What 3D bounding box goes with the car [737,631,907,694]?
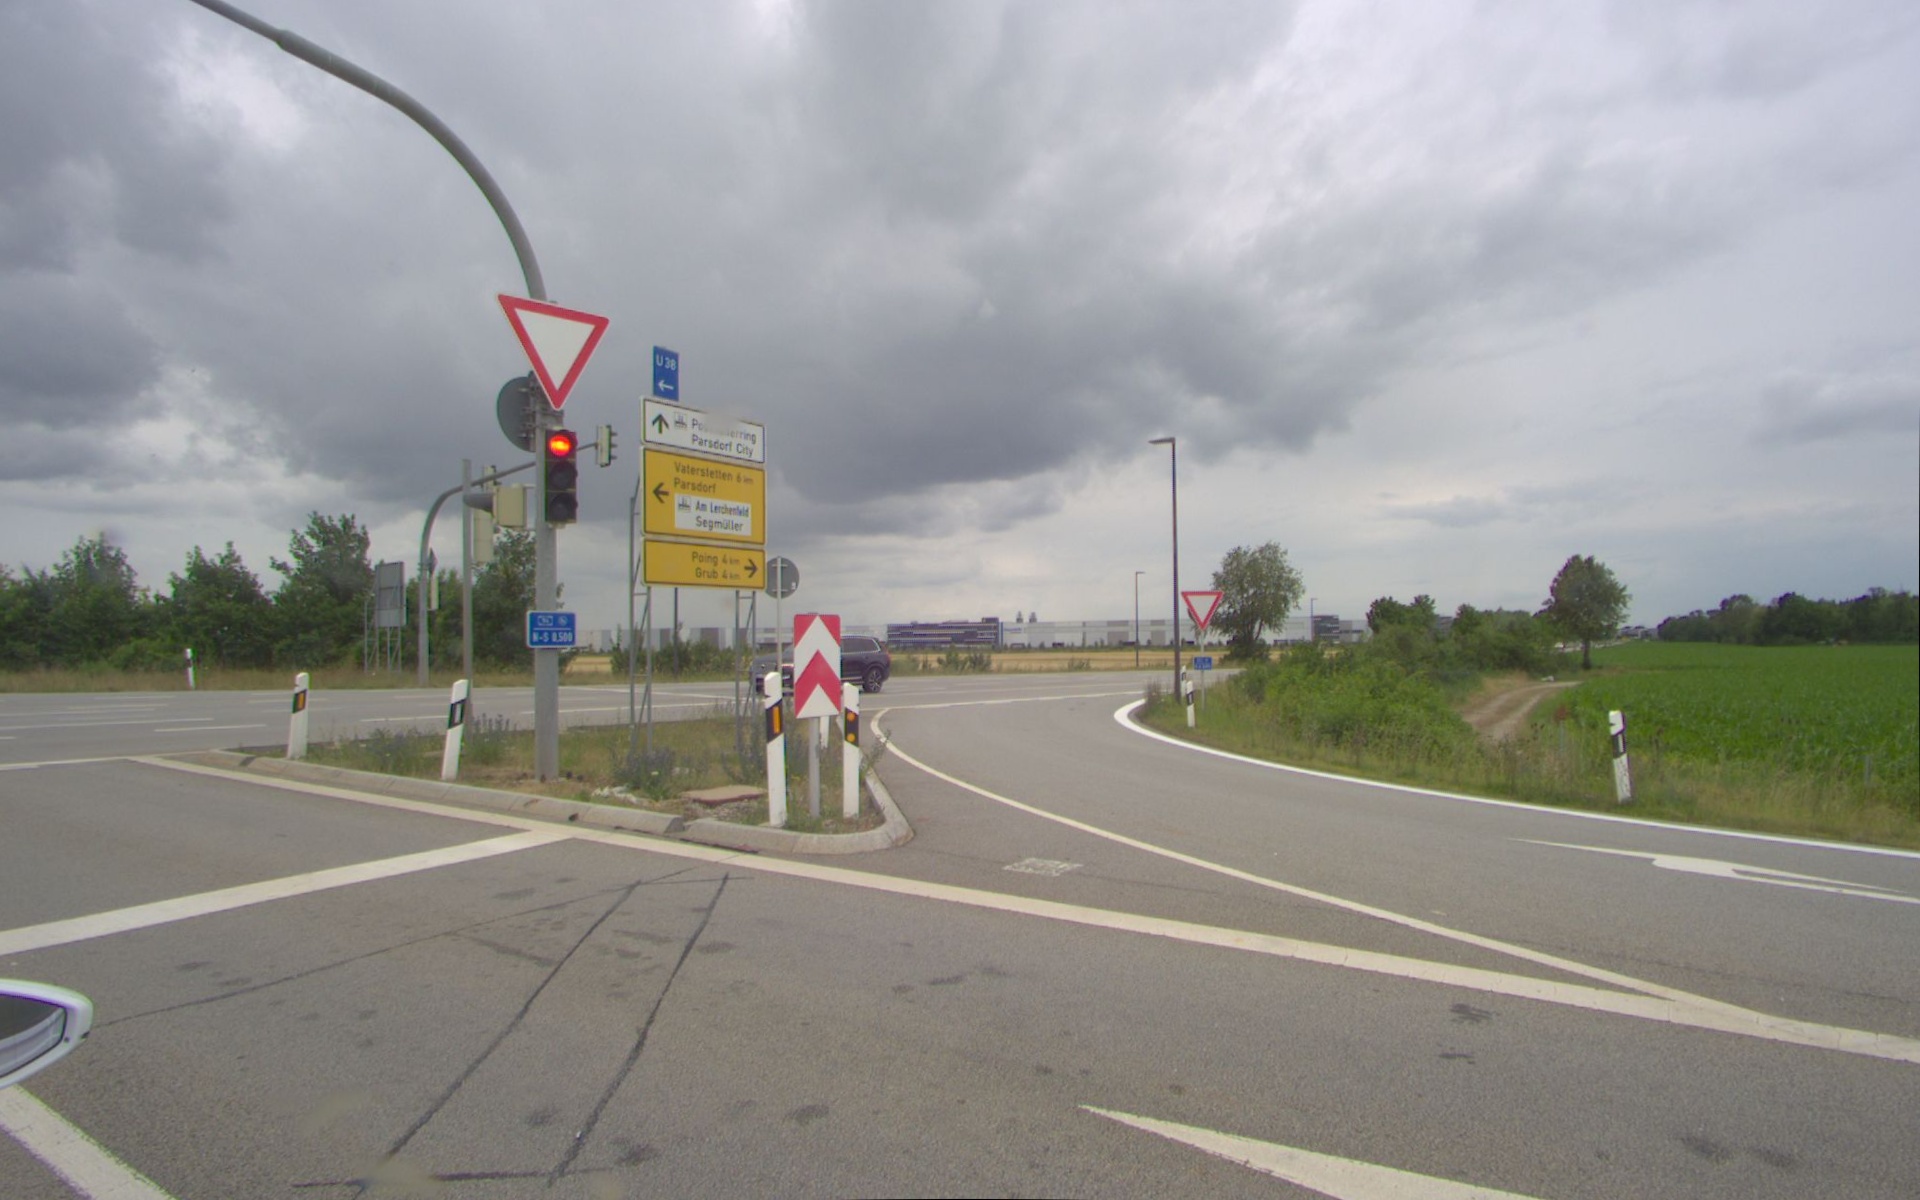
[{"bbox_3d":[-4.007,1.822,29.771,1.977,1.705,4.961,-2,-3,41],"label":"car"}]
